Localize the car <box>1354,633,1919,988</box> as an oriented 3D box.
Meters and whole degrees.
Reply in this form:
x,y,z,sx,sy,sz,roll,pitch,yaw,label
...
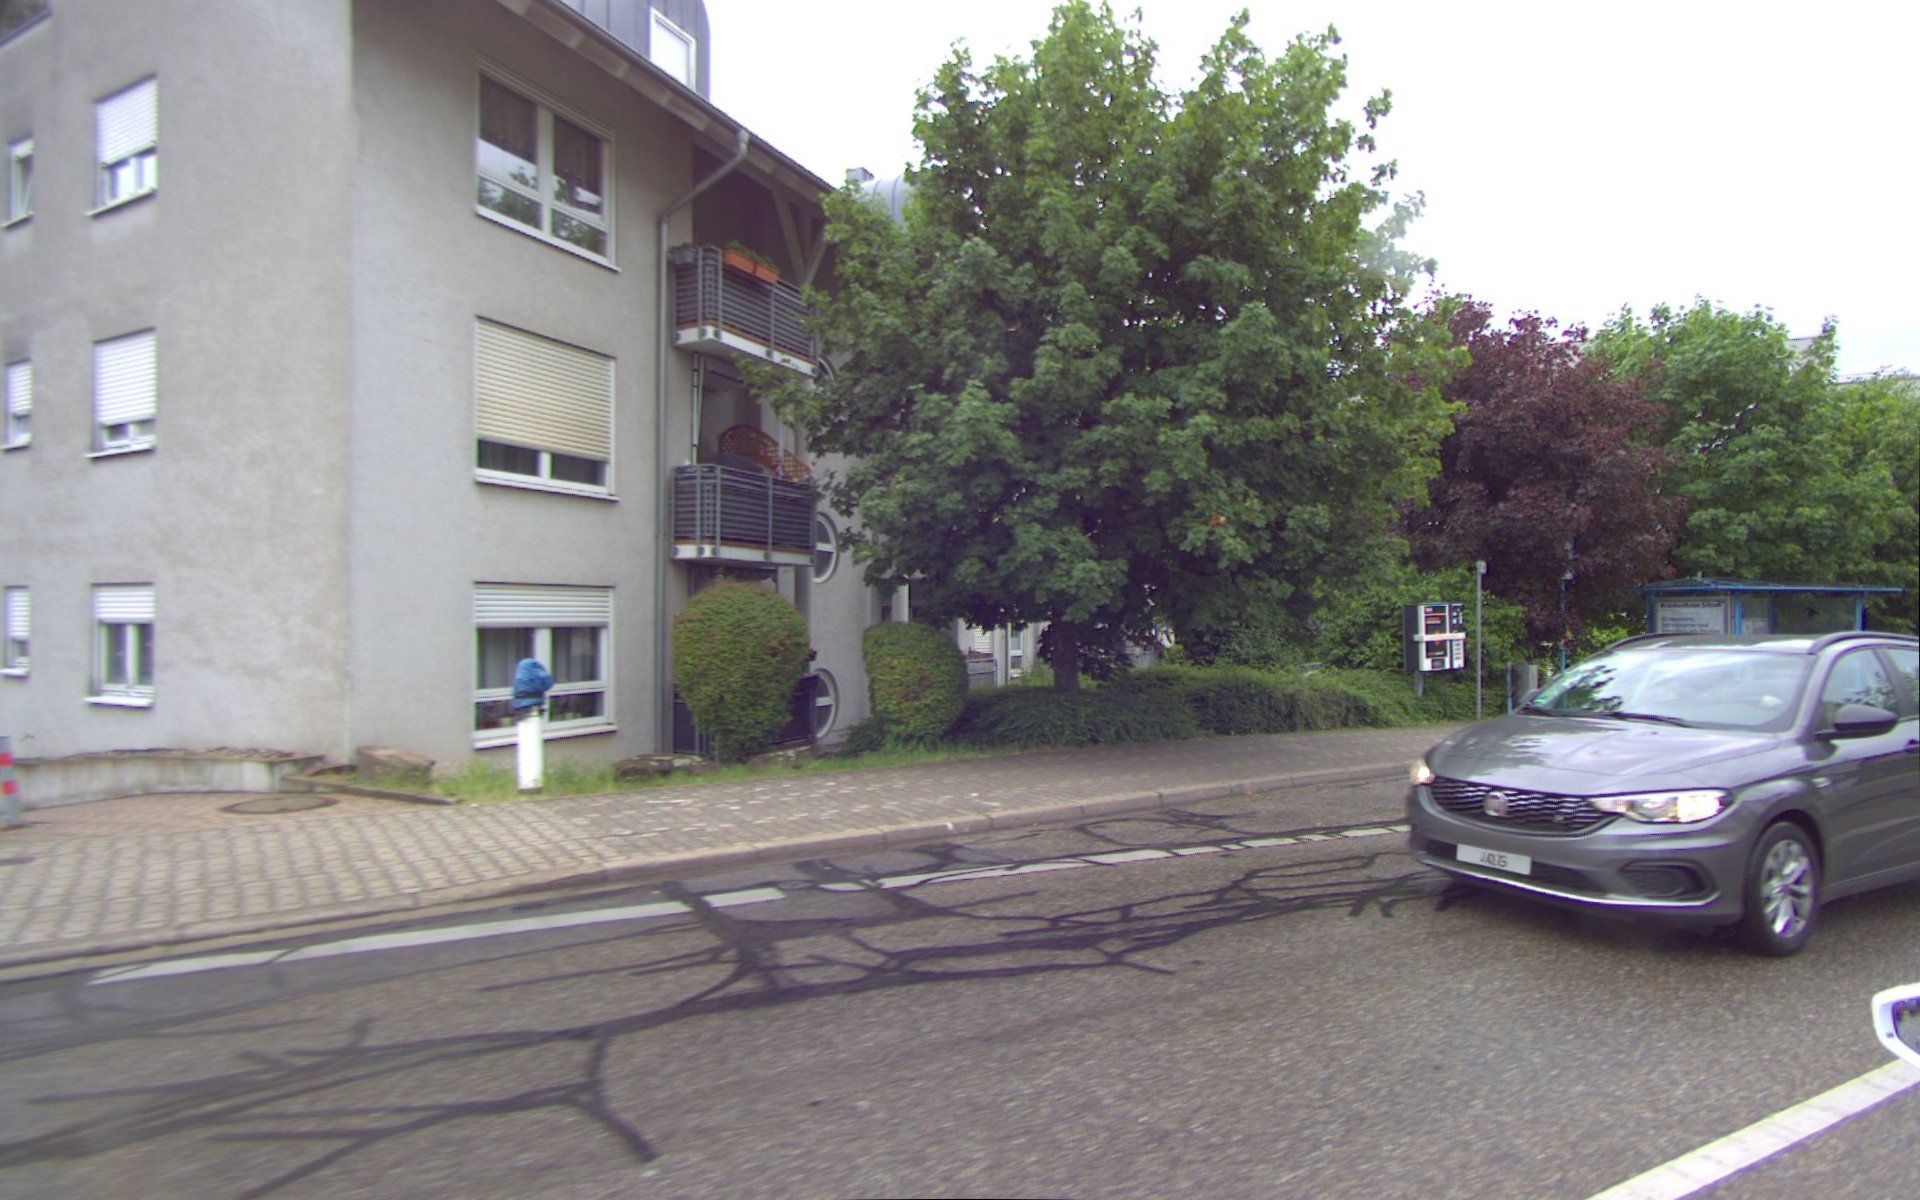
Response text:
x,y,z,sx,sy,sz,roll,pitch,yaw,label
4.559,0.946,6.000,4.194,1.493,1.770,1,-2,-27,car

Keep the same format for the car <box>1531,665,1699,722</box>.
x,y,z,sx,sy,sz,roll,pitch,yaw,label
18.494,2.599,28.377,4.105,1.440,1.990,1,-2,-22,car
